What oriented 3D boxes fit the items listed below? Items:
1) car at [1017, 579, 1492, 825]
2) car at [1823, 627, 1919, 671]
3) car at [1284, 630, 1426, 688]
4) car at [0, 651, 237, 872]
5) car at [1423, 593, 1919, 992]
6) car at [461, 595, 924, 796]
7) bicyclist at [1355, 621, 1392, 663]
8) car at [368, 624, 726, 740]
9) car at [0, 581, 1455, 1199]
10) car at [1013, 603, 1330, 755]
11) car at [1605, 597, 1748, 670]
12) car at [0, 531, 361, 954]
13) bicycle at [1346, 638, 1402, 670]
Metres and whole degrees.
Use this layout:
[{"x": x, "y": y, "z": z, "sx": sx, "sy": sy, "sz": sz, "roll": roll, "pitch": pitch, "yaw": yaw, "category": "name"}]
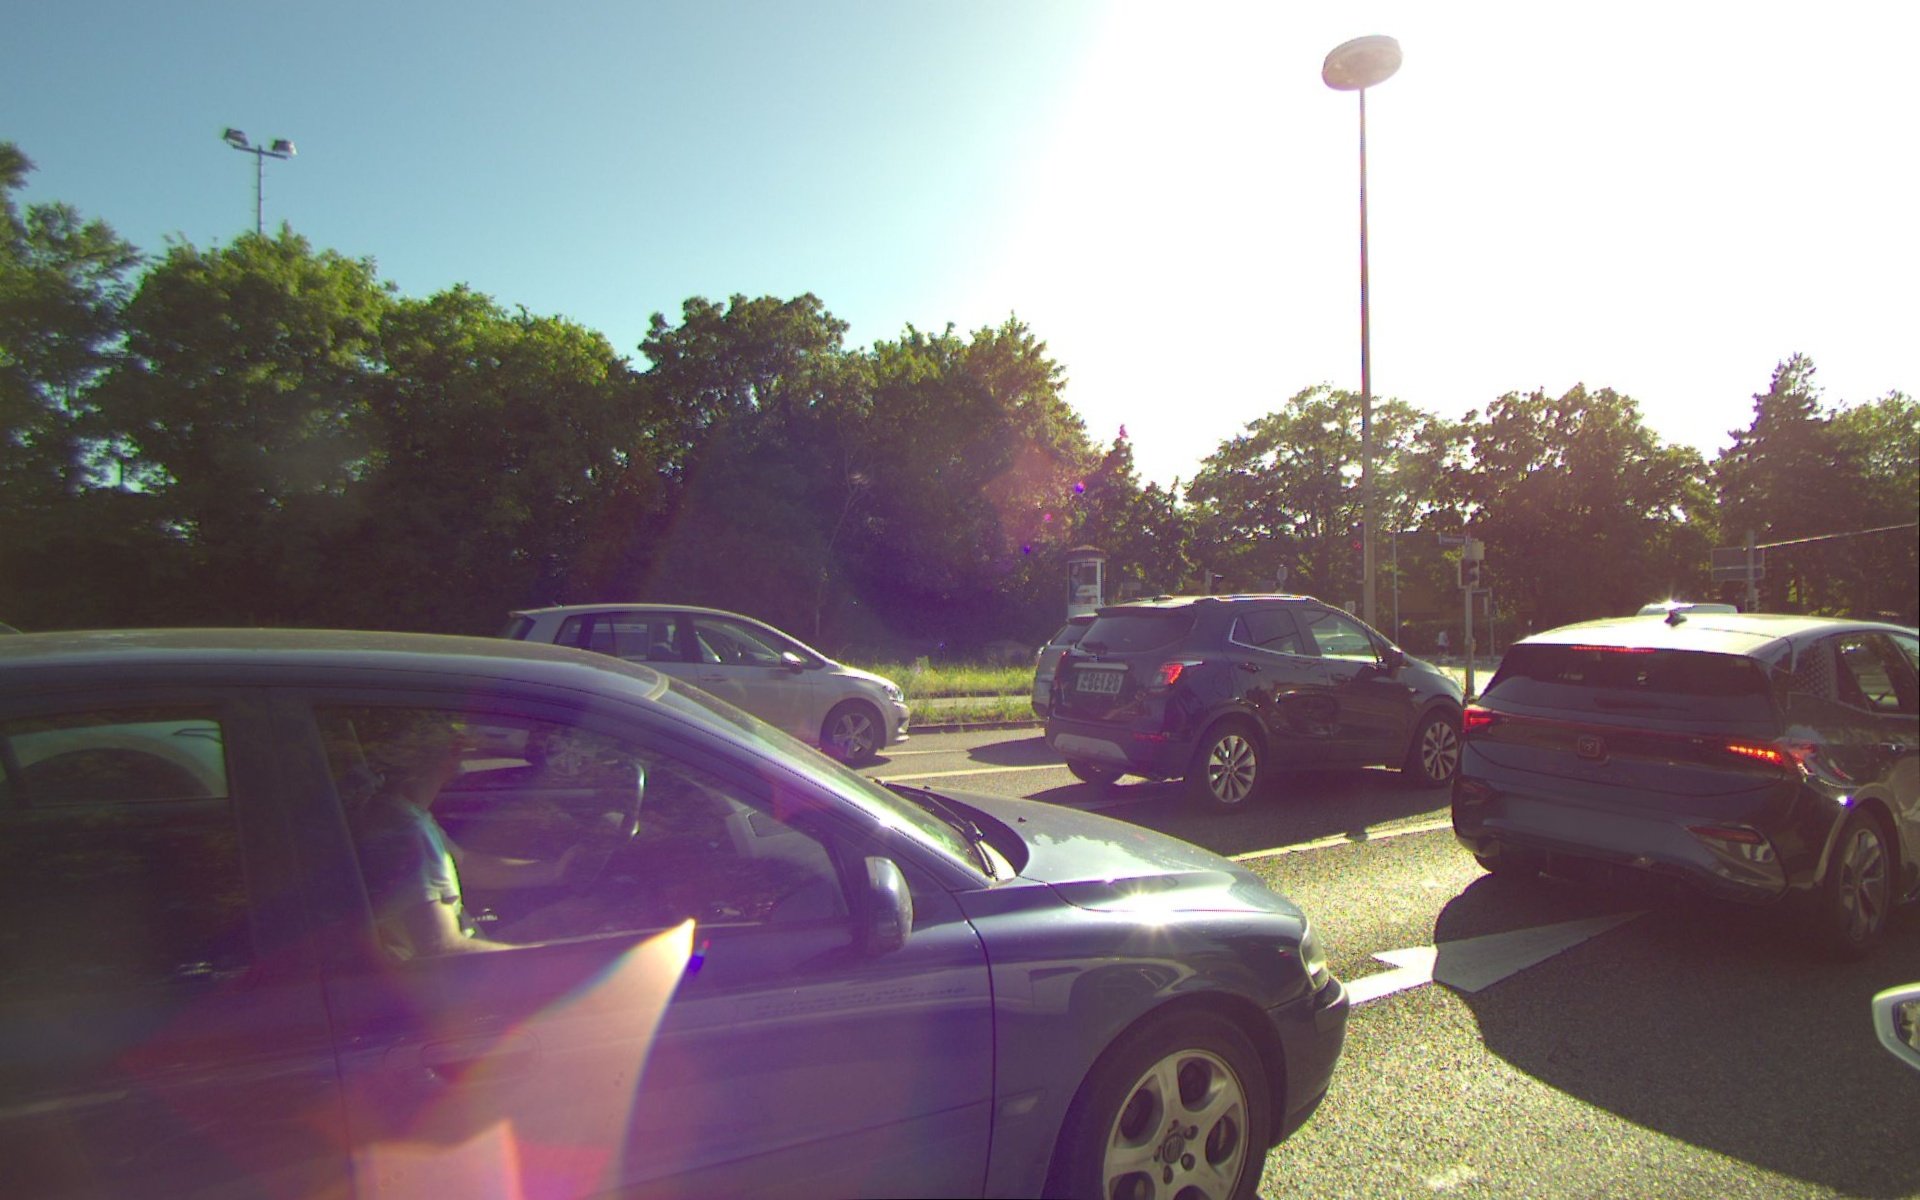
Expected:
[{"x": 2.630, "y": 0.770, "z": 8.803, "sx": 3.953, "sy": 1.711, "sz": 1.796, "roll": 1, "pitch": -2, "yaw": -30, "category": "car"}, {"x": 35.324, "y": 1.842, "z": 38.517, "sx": 4.561, "sy": 1.622, "sz": 1.984, "roll": 1, "pitch": -2, "yaw": -30, "category": "car"}, {"x": 11.238, "y": 1.628, "z": 28.519, "sx": 3.956, "sy": 1.529, "sz": 1.678, "roll": 1, "pitch": -2, "yaw": -30, "category": "car"}, {"x": -7.904, "y": 1.111, "z": 6.951, "sx": 4.499, "sy": 1.448, "sz": 1.822, "roll": 1, "pitch": -2, "yaw": -30, "category": "car"}, {"x": 4.750, "y": 0.828, "z": 5.824, "sx": 4.158, "sy": 1.601, "sz": 1.676, "roll": 2, "pitch": -1, "yaw": -30, "category": "car"}, {"x": -2.604, "y": 0.835, "z": 10.014, "sx": 4.156, "sy": 1.632, "sz": 1.822, "roll": 1, "pitch": -2, "yaw": -30, "category": "car"}, {"x": 16.622, "y": 1.690, "z": 40.363, "sx": 1.187, "sy": 1.670, "sz": 0.870, "roll": 1, "pitch": -2, "yaw": -35, "category": "bicyclist"}, {"x": -5.848, "y": 1.088, "z": 14.456, "sx": 4.561, "sy": 1.452, "sz": 1.678, "roll": 1, "pitch": -2, "yaw": -30, "category": "car"}, {"x": -1.087, "y": 0.726, "z": 2.210, "sx": 4.404, "sy": 1.471, "sz": 1.767, "roll": 2, "pitch": 0, "yaw": -30, "category": "car"}, {"x": 2.820, "y": 0.953, "z": 13.190, "sx": 3.956, "sy": 1.724, "sz": 1.820, "roll": 1, "pitch": -2, "yaw": -32, "category": "car"}, {"x": 26.673, "y": 1.235, "z": 37.334, "sx": 5.934, "sy": 2.525, "sz": 2.090, "roll": 1, "pitch": -2, "yaw": -30, "category": "car"}, {"x": -5.268, "y": 0.596, "z": 4.501, "sx": 4.373, "sy": 1.732, "sz": 1.984, "roll": 1, "pitch": -2, "yaw": -30, "category": "car"}, {"x": 16.636, "y": 2.149, "z": 40.335, "sx": 2.511, "sy": 1.228, "sz": 0.870, "roll": 1, "pitch": -2, "yaw": -35, "category": "bicycle"}]
